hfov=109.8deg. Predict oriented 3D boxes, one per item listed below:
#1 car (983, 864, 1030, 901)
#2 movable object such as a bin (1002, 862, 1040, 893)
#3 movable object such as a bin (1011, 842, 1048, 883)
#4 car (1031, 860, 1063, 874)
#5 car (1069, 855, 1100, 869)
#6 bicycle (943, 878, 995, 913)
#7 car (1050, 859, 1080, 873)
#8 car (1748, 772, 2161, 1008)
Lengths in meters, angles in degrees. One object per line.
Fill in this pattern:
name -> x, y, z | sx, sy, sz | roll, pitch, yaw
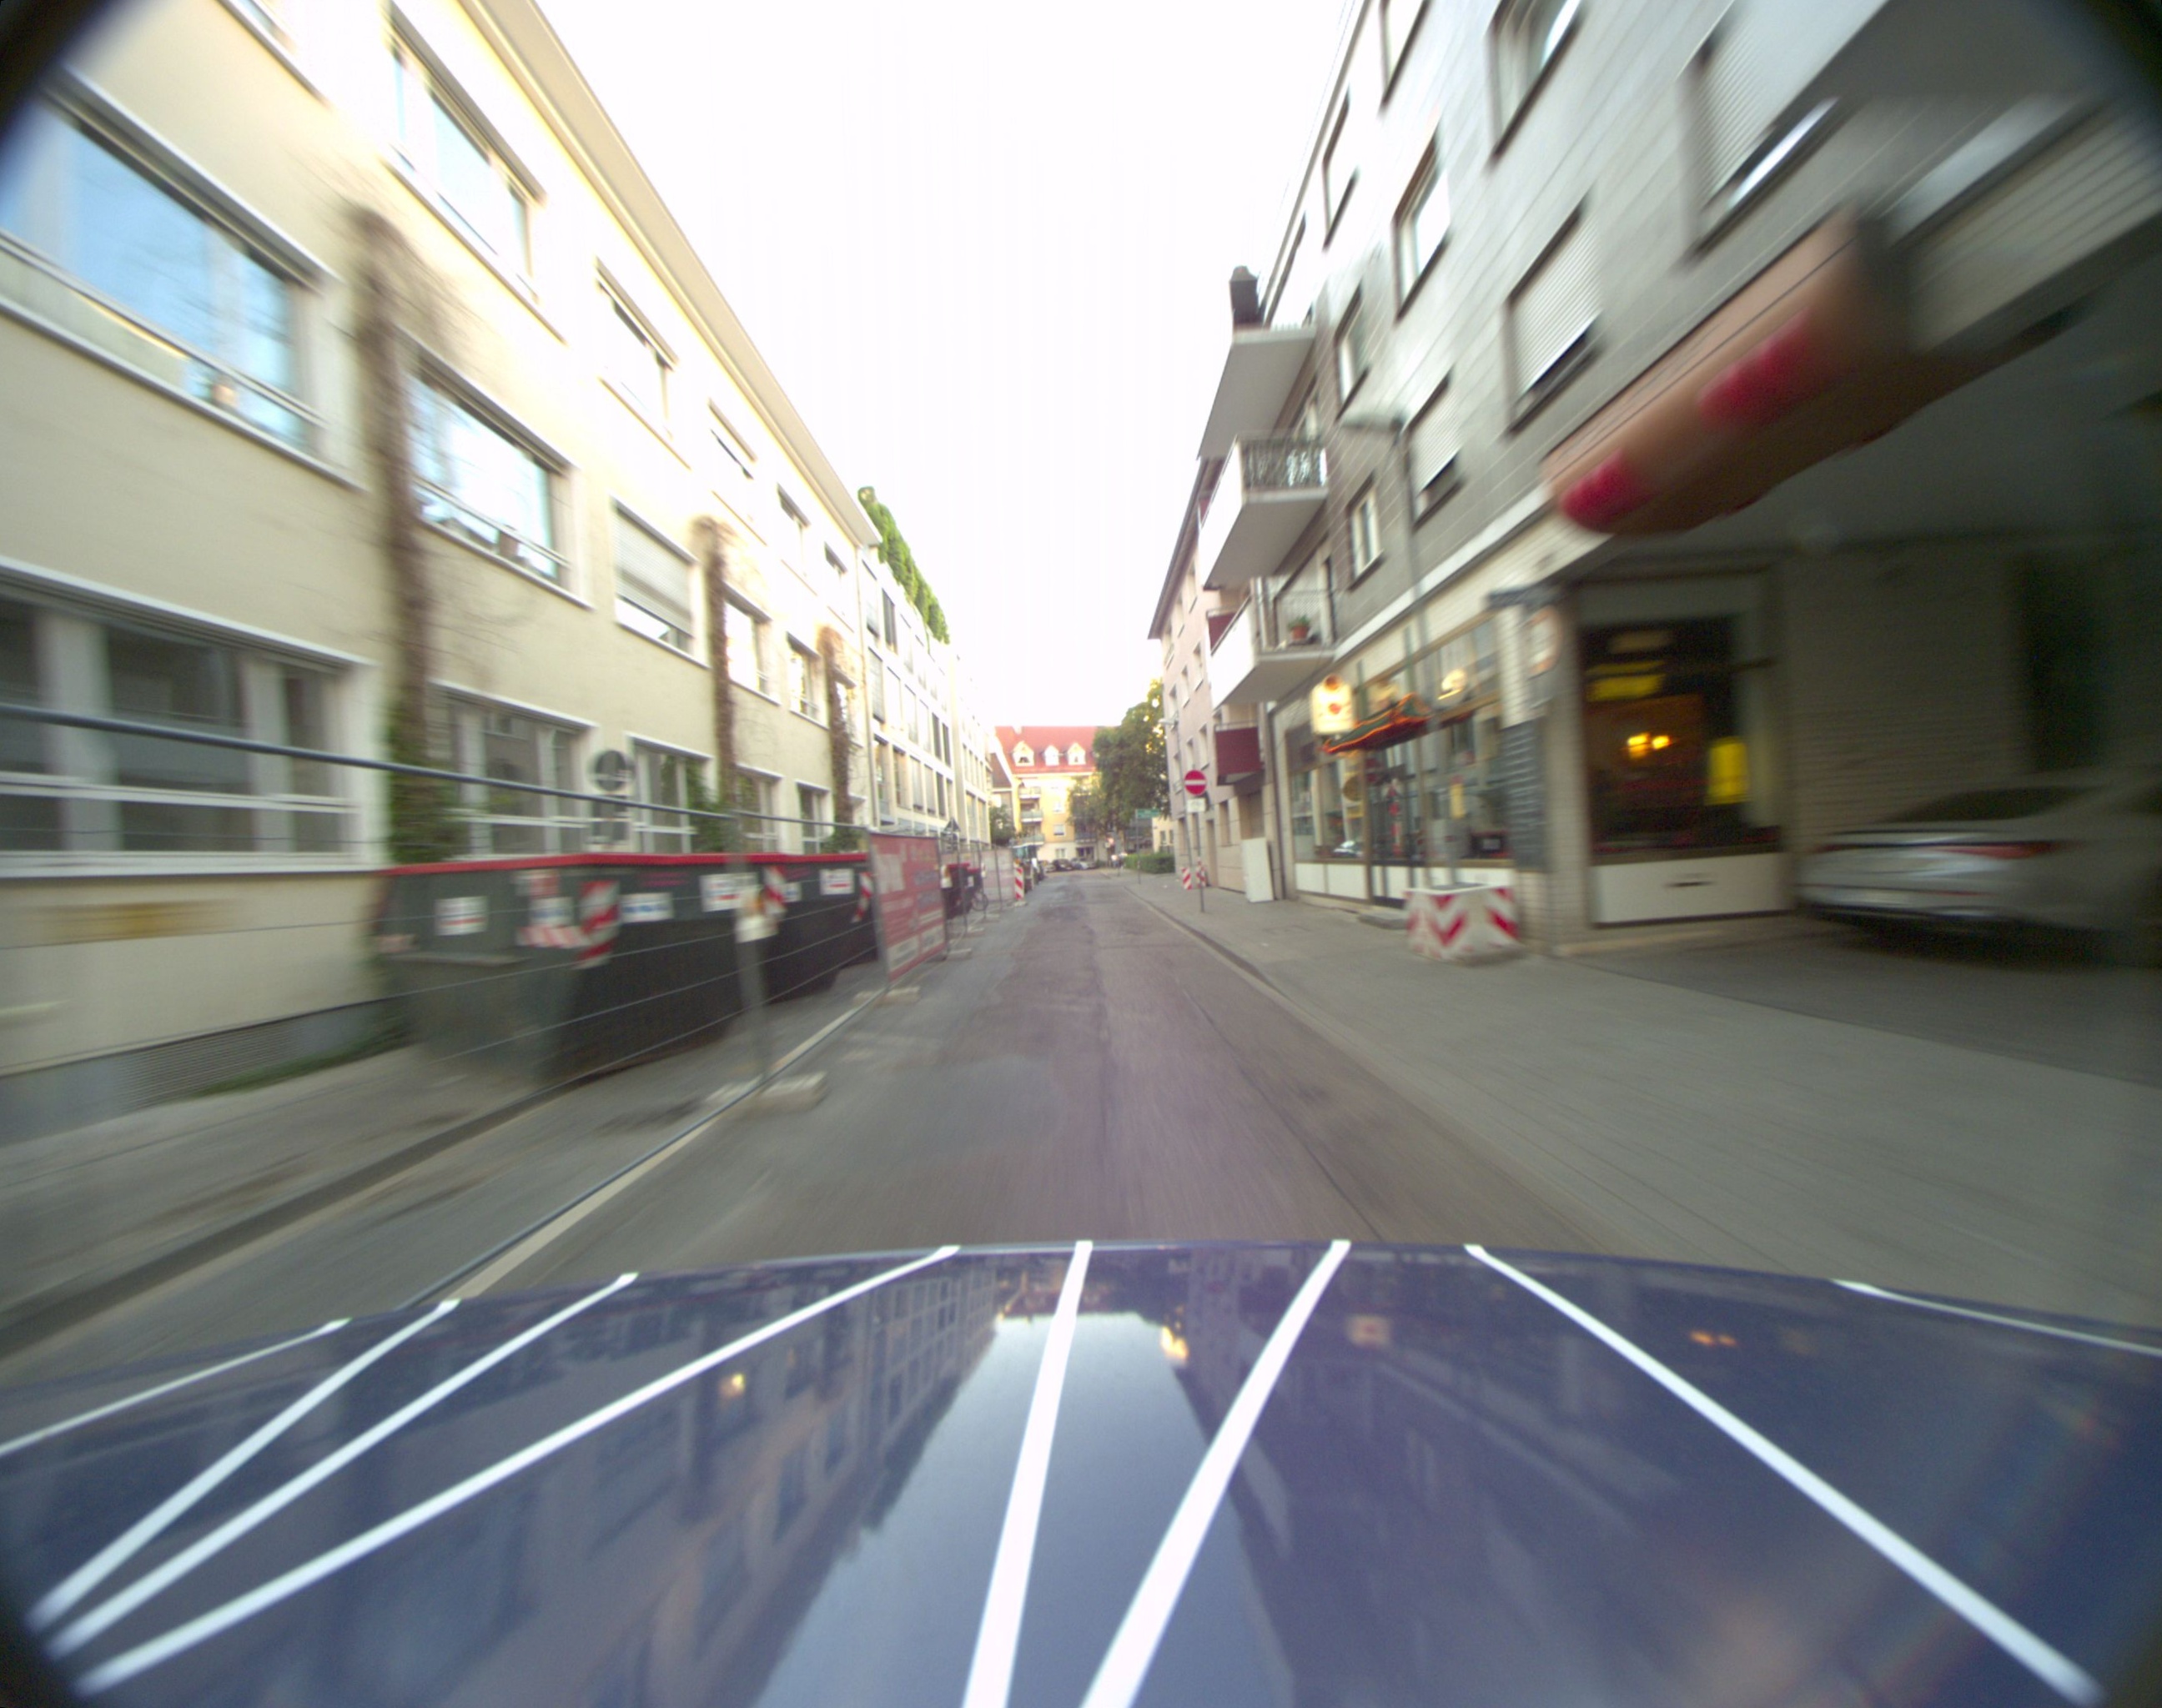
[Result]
car -> -3.147, 1.186, 32.697 | 1.493, 1.285, 3.779 | -5, 0, 0
movable object such as a bin -> -2.950, 1.118, 37.929 | 1.493, 1.285, 3.779 | -5, 0, 0
movable object such as a bin -> -3.667, 0.595, 54.469 | 2.097, 2.631, 4.372 | -5, 0, 0
car -> -3.923, 1.537, 86.773 | 1.795, 1.466, 3.991 | -3, 0, -33
car -> 0.358, 0.979, 88.590 | 1.795, 1.466, 3.991 | -3, 0, -29
bicycle -> -3.672, 1.353, 24.818 | 1.771, 1.076, 0.473 | -4, 1, 35
car -> -1.855, 1.405, 87.873 | 1.794, 1.466, 3.992 | -3, 0, -28
car -> 8.461, 0.098, 6.038 | 4.443, 1.455, 2.069 | -5, 0, -1
